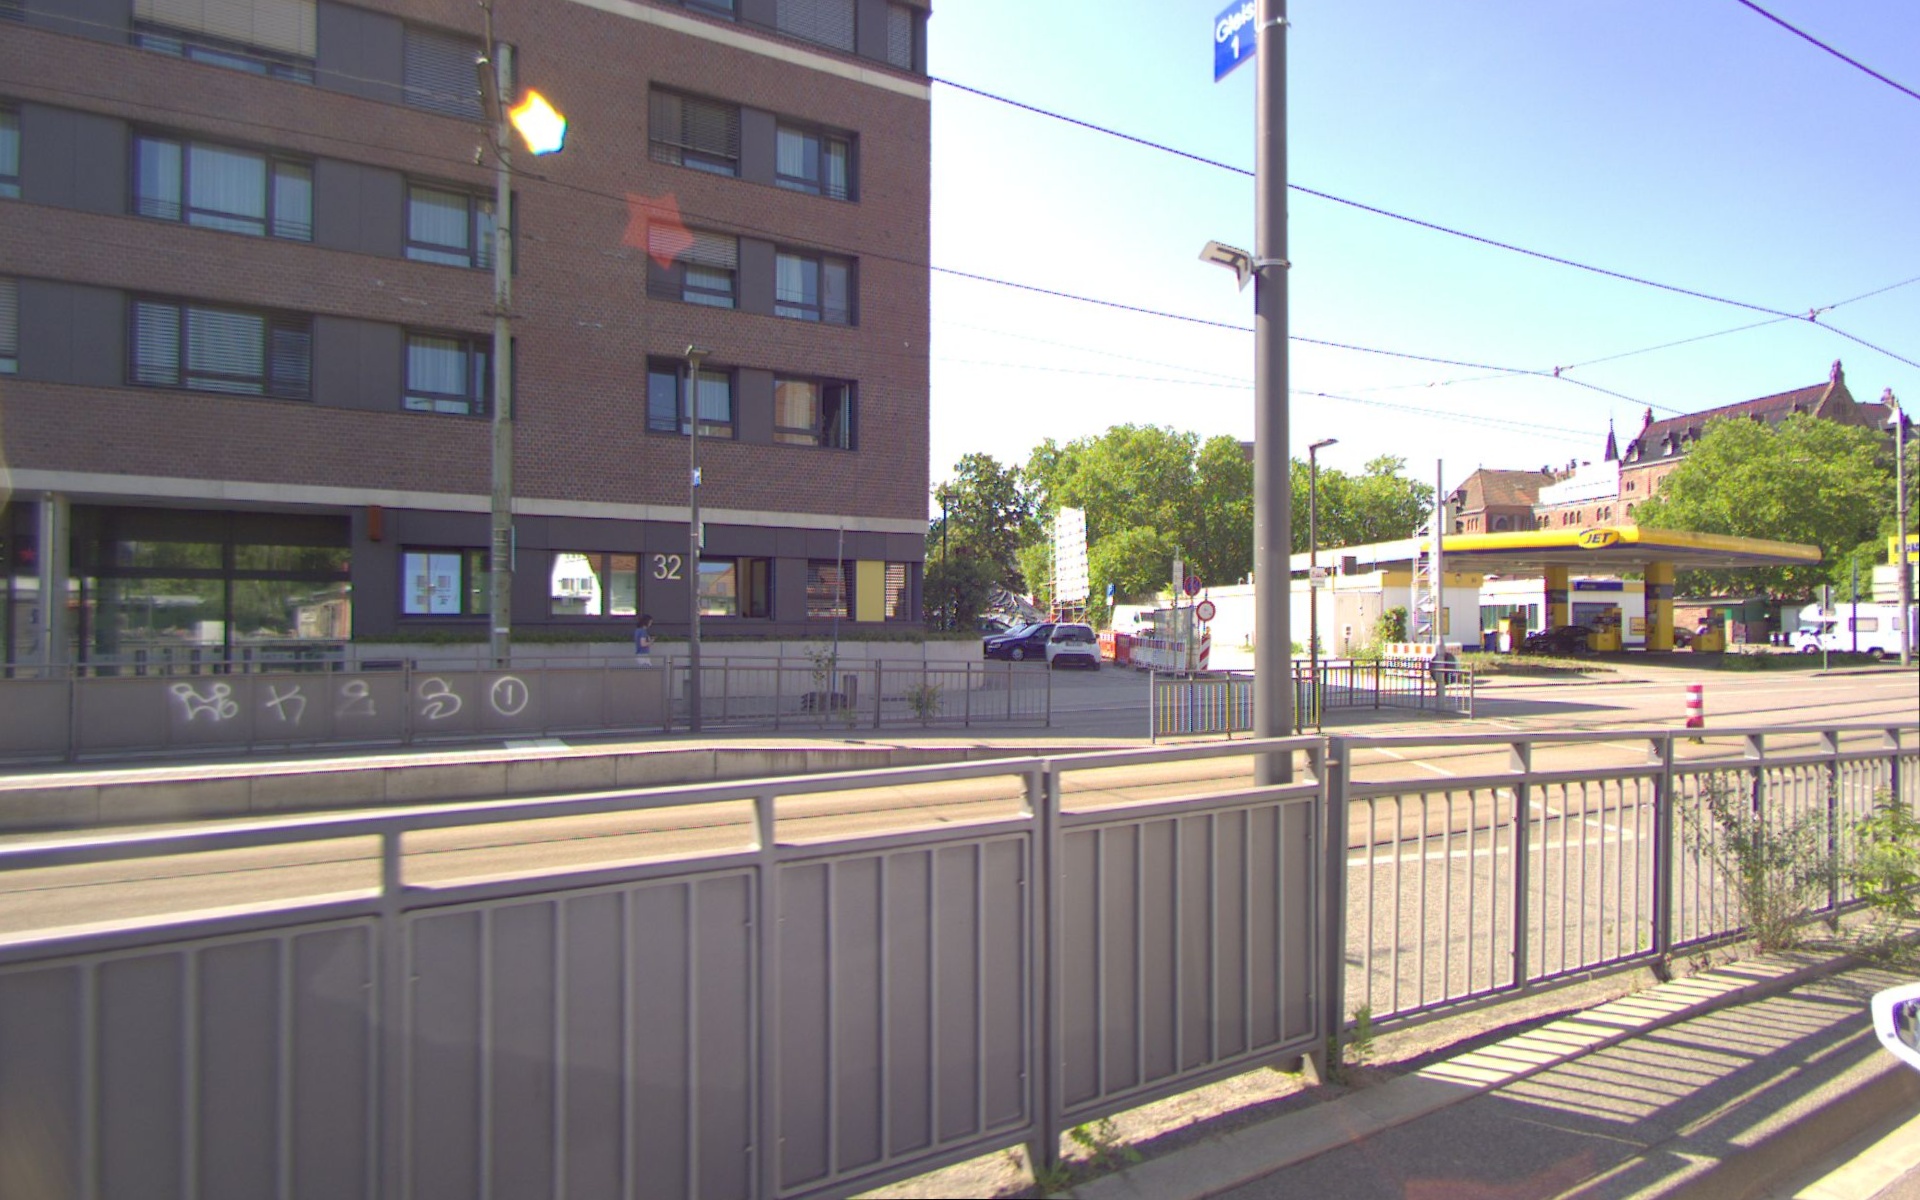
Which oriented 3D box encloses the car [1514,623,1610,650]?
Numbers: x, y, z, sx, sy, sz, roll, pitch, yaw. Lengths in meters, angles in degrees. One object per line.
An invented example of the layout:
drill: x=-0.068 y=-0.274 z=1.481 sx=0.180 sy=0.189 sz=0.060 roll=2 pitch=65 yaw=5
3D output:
car: x=31.914 y=1.947 z=53.297 sx=4.312 sy=1.320 sz=1.699 roll=1 pitch=0 yaw=-11

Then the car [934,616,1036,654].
car: x=1.040 y=1.486 z=42.959 sx=3.992 sy=1.552 sz=1.811 roll=1 pitch=-1 yaw=-18

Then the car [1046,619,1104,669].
car: x=3.812 y=1.432 z=33.722 sx=1.766 sy=1.442 sz=4.002 roll=1 pitch=0 yaw=5

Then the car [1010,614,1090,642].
car: x=5.078 y=1.588 z=56.758 sx=4.176 sy=1.449 sz=1.826 roll=1 pitch=0 yaw=-17

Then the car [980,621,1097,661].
car: x=2.896 y=1.518 z=37.390 sx=3.988 sy=1.384 sz=1.864 roll=1 pitch=-1 yaw=-14

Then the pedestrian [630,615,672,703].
pedestrian: x=-6.091 y=1.149 z=19.787 sx=0.691 sy=1.686 sz=0.578 roll=1 pitch=-1 yaw=-30

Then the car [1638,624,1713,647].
car: x=50.154 y=2.479 z=70.488 sx=1.902 sy=1.547 sz=4.165 roll=1 pitch=-1 yaw=-9

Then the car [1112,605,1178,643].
car: x=12.161 y=1.570 z=66.586 sx=2.288 sy=2.358 sz=5.648 roll=1 pitch=-1 yaw=-12

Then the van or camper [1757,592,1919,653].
van or camper: x=48.943 y=1.153 z=55.860 sx=2.587 sy=3.007 sz=6.654 roll=1 pitch=1 yaw=-32

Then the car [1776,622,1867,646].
car: x=60.494 y=2.376 z=70.585 sx=4.485 sy=1.604 sz=1.951 roll=0 pitch=-1 yaw=10
